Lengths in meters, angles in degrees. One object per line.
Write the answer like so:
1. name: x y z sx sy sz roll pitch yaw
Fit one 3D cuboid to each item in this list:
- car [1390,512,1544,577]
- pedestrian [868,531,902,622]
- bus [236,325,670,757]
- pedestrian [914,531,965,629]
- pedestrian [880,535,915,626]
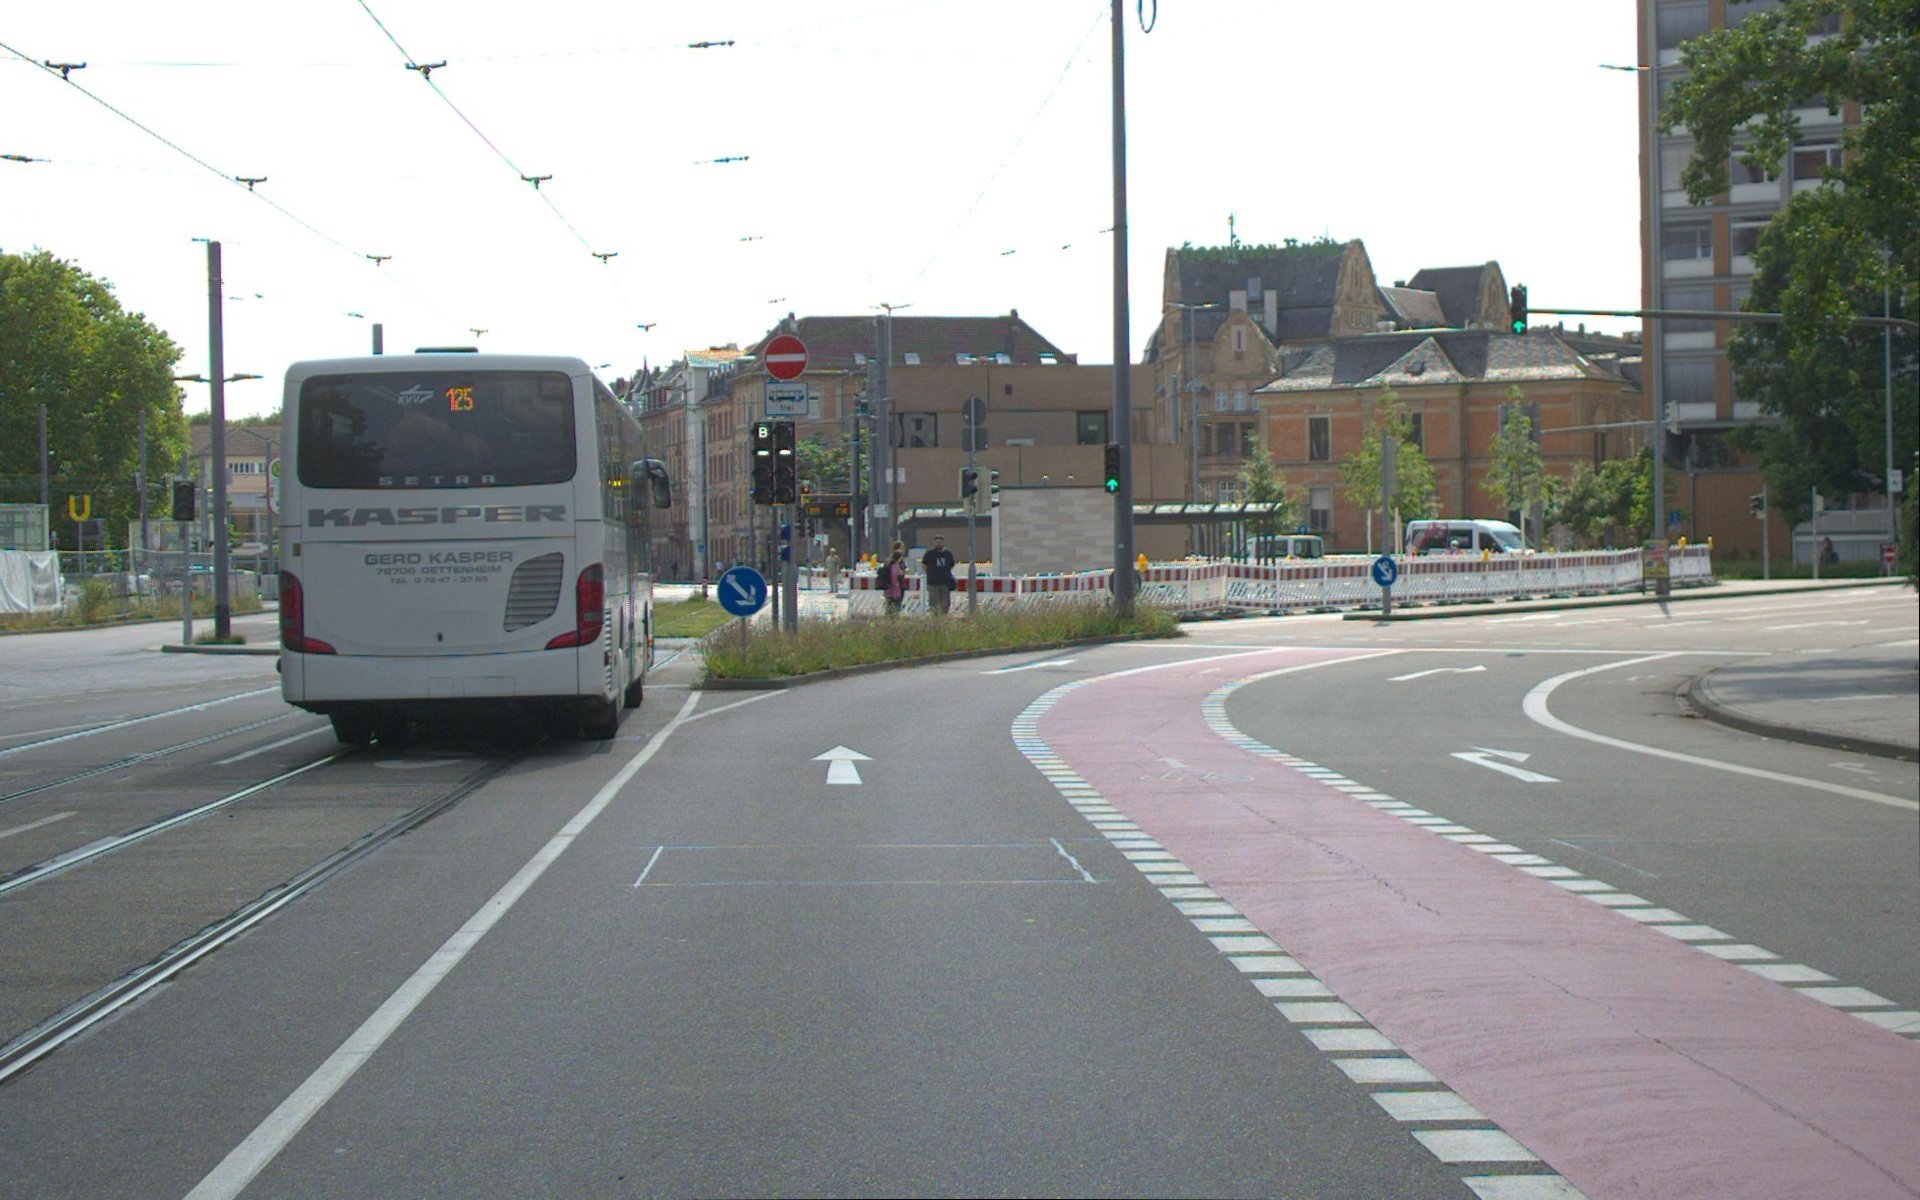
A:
1. car: 18.748 -2.035 127.423 2.295 2.311 5.587 -1 1 -38
2. pedestrian: -1.420 -0.446 64.957 0.611 1.701 0.623 -1 1 -1
3. bus: -4.417 -0.491 32.583 2.917 3.317 12.207 0 0 -3
4. pedestrian: -0.395 -0.386 66.520 0.791 1.878 0.613 -1 1 -23
5. pedestrian: -1.201 -0.370 65.945 0.409 1.730 0.620 -1 1 24
